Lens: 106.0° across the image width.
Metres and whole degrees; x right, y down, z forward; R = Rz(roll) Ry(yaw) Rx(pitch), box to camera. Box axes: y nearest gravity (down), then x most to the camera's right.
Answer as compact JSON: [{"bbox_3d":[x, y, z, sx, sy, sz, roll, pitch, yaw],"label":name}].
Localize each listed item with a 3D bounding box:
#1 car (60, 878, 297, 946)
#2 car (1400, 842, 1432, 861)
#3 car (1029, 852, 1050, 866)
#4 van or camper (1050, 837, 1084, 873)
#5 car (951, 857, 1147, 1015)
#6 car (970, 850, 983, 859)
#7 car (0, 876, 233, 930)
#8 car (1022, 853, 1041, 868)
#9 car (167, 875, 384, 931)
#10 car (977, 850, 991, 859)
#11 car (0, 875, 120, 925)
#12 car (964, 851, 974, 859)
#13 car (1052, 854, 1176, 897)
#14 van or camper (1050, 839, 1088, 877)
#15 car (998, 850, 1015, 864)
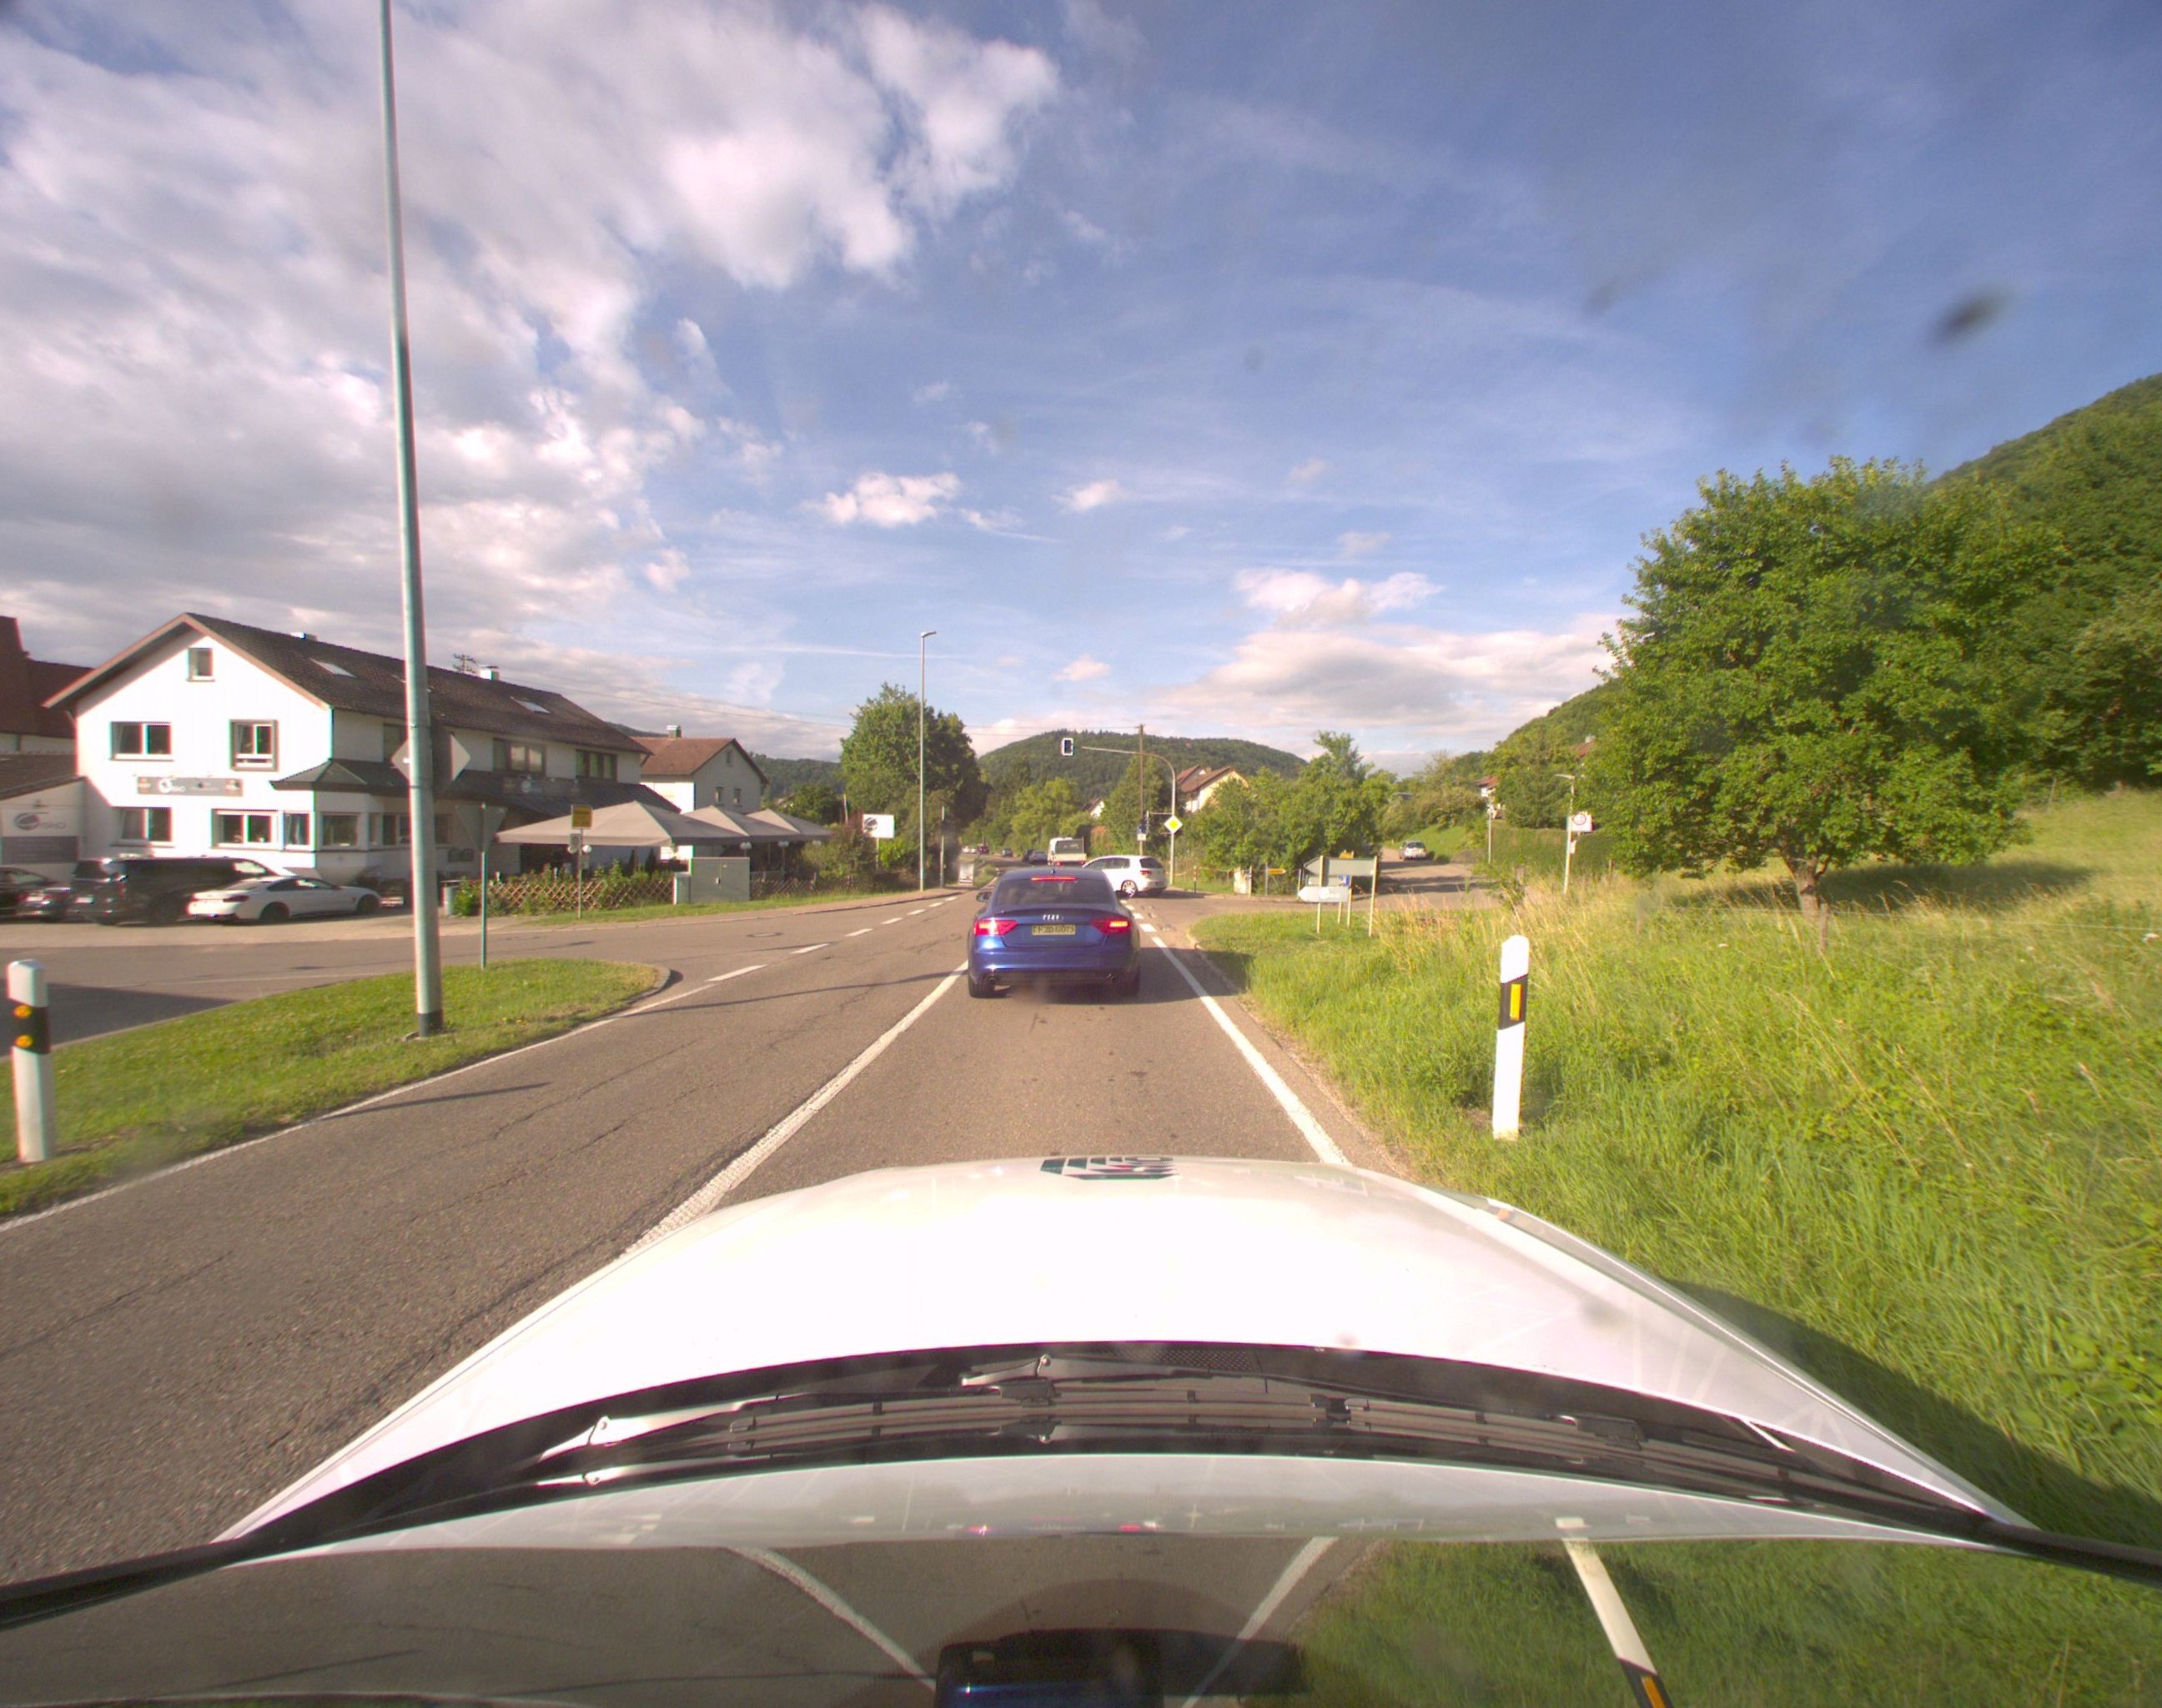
[{"bbox_3d":[-27.539,1.693,25.137,1.985,1.685,4.581,-2,0,4],"label":"car"},{"bbox_3d":[26.746,-0.197,65.128,1.978,1.464,4.017,-1,-1,17],"label":"car"},{"bbox_3d":[-4.578,0.528,89.710,1.819,1.552,3.988,-2,0,-9],"label":"car"},{"bbox_3d":[-1.252,0.076,69.695,2.411,2.904,6.121,-1,1,-5],"label":"van or camper"},{"bbox_3d":[-0.318,0.789,9.859,1.824,1.409,4.225,-2,0,-1],"label":"car"},{"bbox_3d":[-20.691,0.134,160.998,1.945,1.684,3.981,-2,0,-14],"label":"car"},{"bbox_3d":[-30.623,1.501,26.050,1.985,1.389,4.581,-2,0,4],"label":"car"},{"bbox_3d":[-6.180,0.781,101.106,1.797,1.794,3.986,-2,0,-10],"label":"car"},{"bbox_3d":[-24.853,1.452,25.424,1.985,1.389,4.581,-2,0,4],"label":"car"},{"bbox_3d":[-18.138,0.046,152.482,2.044,1.684,3.981,-1,1,-14],"label":"car"},{"bbox_3d":[-33.390,1.452,25.074,1.985,1.412,4.581,-2,0,4],"label":"car"},{"bbox_3d":[-23.361,0.215,169.659,1.751,1.783,3.981,-2,0,-14],"label":"car"},{"bbox_3d":[1.146,0.726,29.167,4.120,1.415,1.788,1,0,35],"label":"car"},{"bbox_3d":[-0.863,0.221,55.201,2.176,2.385,5.360,-1,1,-5],"label":"van or camper"},{"bbox_3d":[-11.495,0.439,125.427,1.996,2.013,3.982,-1,1,-13],"label":"car"}]
